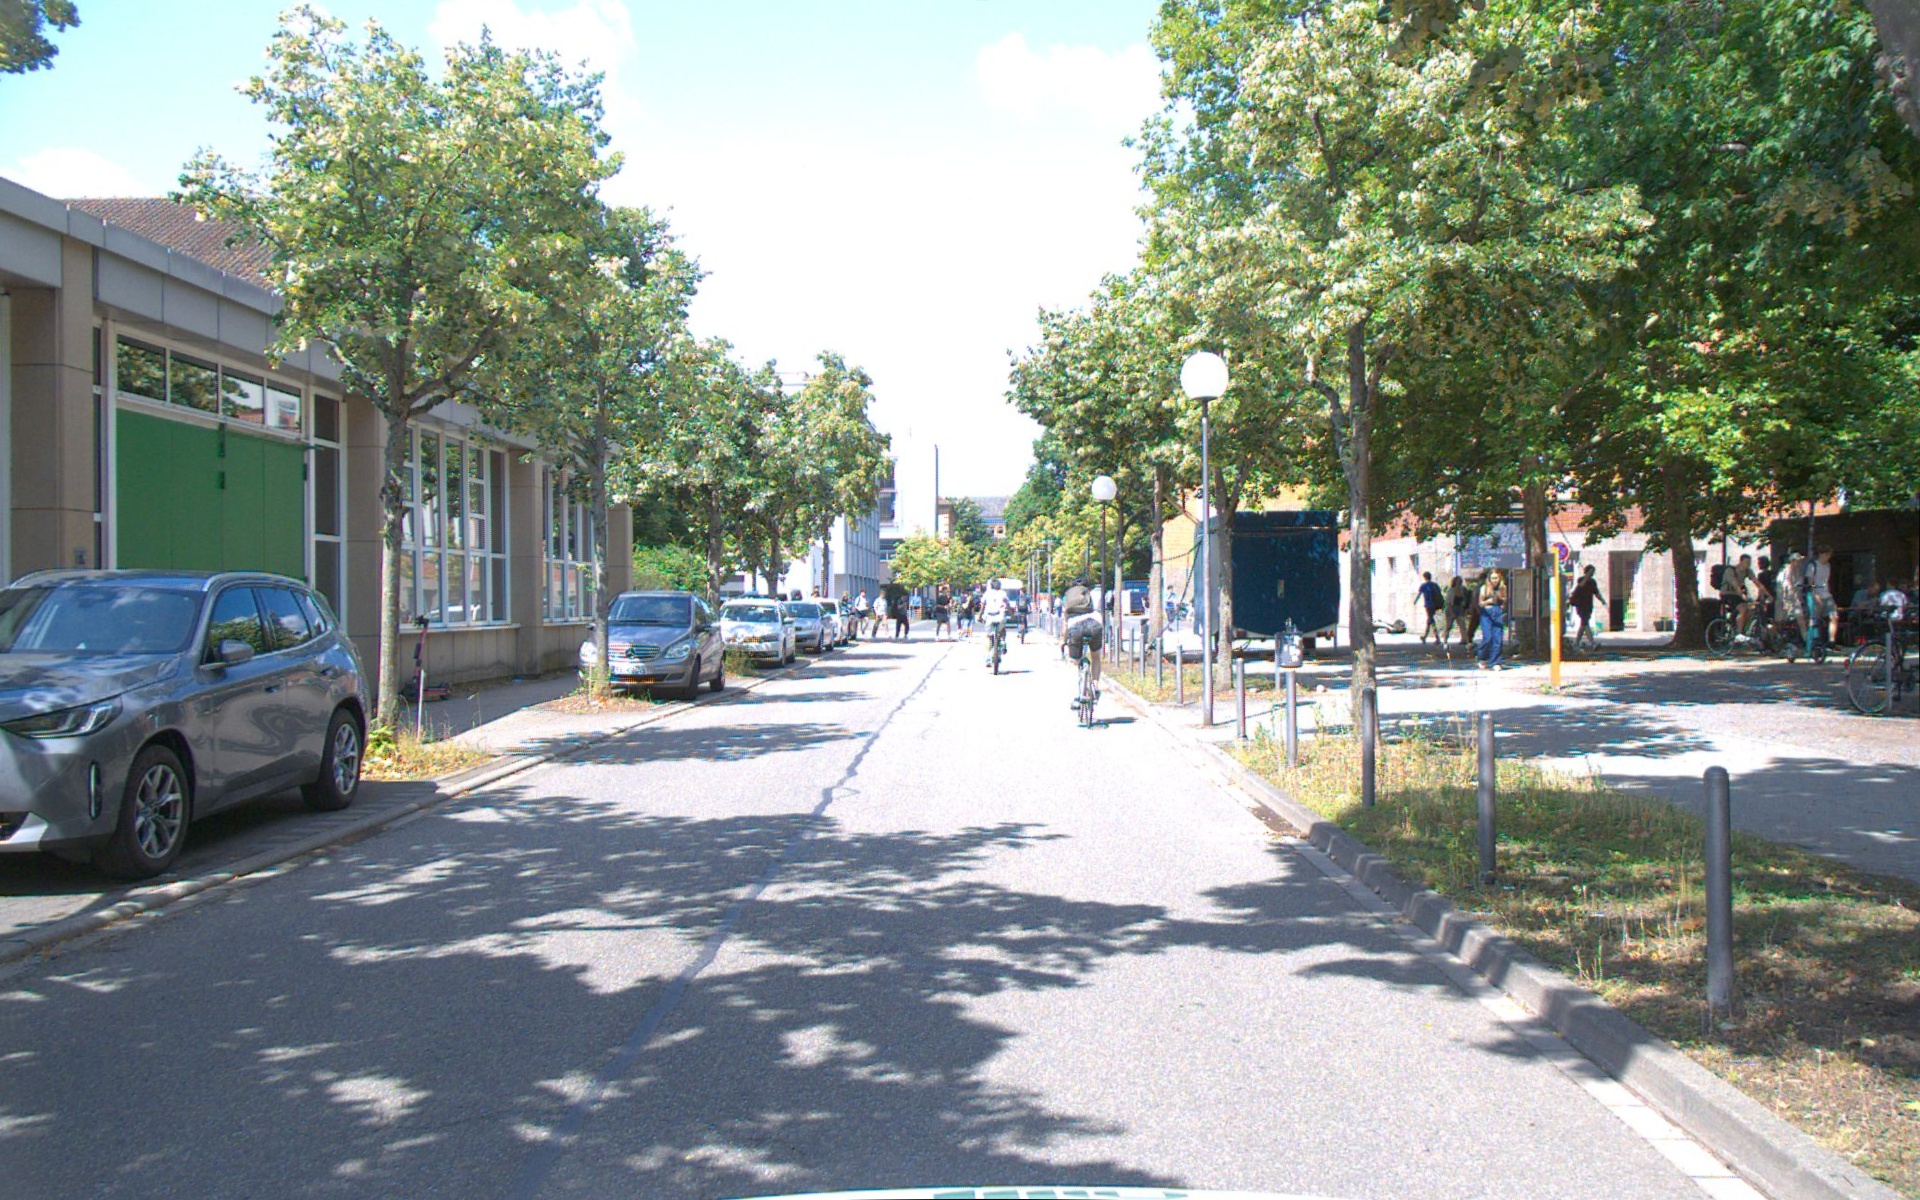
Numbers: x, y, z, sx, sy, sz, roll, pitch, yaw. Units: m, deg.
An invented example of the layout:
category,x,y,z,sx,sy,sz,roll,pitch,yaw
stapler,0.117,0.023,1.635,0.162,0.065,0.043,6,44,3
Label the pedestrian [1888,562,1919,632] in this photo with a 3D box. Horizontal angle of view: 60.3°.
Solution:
category,x,y,z,sx,sy,sz,roll,pitch,yaw
pedestrian,19.195,-0.066,33.244,0.558,1.370,0.729,-4,1,-3

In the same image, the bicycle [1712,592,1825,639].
category,x,y,z,sx,sy,sz,roll,pitch,yaw
bicycle,19.810,0.381,40.554,2.345,1.090,0.783,-1,-1,8

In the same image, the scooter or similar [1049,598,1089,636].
category,x,y,z,sx,sy,sz,roll,pitch,yaw
scooter or similar,3.829,0.601,58.205,1.238,1.287,0.649,-1,0,33

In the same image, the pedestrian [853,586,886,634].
category,x,y,z,sx,sy,sz,roll,pitch,yaw
pedestrian,-3.351,0.367,61.310,0.965,1.770,0.697,0,-1,39

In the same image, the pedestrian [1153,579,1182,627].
category,x,y,z,sx,sy,sz,roll,pitch,yaw
pedestrian,8.356,0.110,66.625,0.701,1.817,0.745,-8,5,-31

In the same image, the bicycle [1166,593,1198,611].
category,x,y,z,sx,sy,sz,roll,pitch,yaw
bicycle,13.237,0.116,98.602,1.772,1.002,0.560,-3,0,0

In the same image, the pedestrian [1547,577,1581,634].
category,x,y,z,sx,sy,sz,roll,pitch,yaw
pedestrian,17.783,0.156,48.678,0.645,1.635,0.678,-2,0,-14

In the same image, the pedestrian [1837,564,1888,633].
category,x,y,z,sx,sy,sz,roll,pitch,yaw
pedestrian,18.608,-0.036,34.122,0.558,1.370,0.729,-4,1,-3

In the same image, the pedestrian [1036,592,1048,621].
category,x,y,z,sx,sy,sz,roll,pitch,yaw
pedestrian,5.456,0.443,110.017,0.773,1.892,1.026,-1,0,2

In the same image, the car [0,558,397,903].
category,x,y,z,sx,sy,sz,roll,pitch,yaw
car,-5.114,0.623,10.240,1.785,1.661,4.516,1,0,-2

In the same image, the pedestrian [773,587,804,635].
category,x,y,z,sx,sy,sz,roll,pitch,yaw
pedestrian,-6.619,0.418,63.807,0.786,1.803,0.854,3,2,26

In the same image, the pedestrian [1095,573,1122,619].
category,x,y,z,sx,sy,sz,roll,pitch,yaw
pedestrian,5.903,-0.166,65.812,0.938,1.723,0.705,3,3,11

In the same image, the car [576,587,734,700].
category,x,y,z,sx,sy,sz,roll,pitch,yaw
car,-4.660,0.624,25.792,1.721,1.583,4.112,1,0,-1

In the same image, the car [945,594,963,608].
category,x,y,z,sx,sy,sz,roll,pitch,yaw
car,-0.695,0.098,189.882,1.757,1.557,4.002,-1,0,5

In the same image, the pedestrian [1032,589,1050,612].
category,x,y,z,sx,sy,sz,roll,pitch,yaw
pedestrian,7.482,0.055,152.489,1.469,2.030,1.646,-4,1,-1

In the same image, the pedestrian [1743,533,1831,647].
category,x,y,z,sx,sy,sz,roll,pitch,yaw
pedestrian,14.805,-0.176,29.637,0.820,1.983,1.073,-3,0,-19

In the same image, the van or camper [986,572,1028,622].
category,x,y,z,sx,sy,sz,roll,pitch,yaw
van or camper,2.489,-0.155,86.470,1.952,2.488,4.571,-2,-1,4

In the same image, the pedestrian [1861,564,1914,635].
category,x,y,z,sx,sy,sz,roll,pitch,yaw
pedestrian,18.629,-0.018,33.214,0.558,1.370,0.729,-4,1,-3

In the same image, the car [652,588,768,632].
category,x,y,z,sx,sy,sz,roll,pitch,yaw
car,-10.375,0.427,68.860,4.412,1.647,1.925,2,-1,3

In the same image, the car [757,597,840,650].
category,x,y,z,sx,sy,sz,roll,pitch,yaw
car,-4.412,0.622,45.720,1.689,1.367,4.167,1,0,2

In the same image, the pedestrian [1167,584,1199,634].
category,x,y,z,sx,sy,sz,roll,pitch,yaw
pedestrian,7.801,0.310,57.954,0.857,1.666,0.949,-6,1,1

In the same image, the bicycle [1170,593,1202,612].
category,x,y,z,sx,sy,sz,roll,pitch,yaw
bicycle,13.133,0.137,96.265,1.772,1.002,0.560,-3,0,0

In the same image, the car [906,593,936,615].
category,x,y,z,sx,sy,sz,roll,pitch,yaw
car,-2.904,0.271,123.412,1.757,1.557,4.002,-1,0,5

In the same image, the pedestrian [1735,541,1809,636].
category,x,y,z,sx,sy,sz,roll,pitch,yaw
pedestrian,15.861,-0.233,32.328,0.940,1.806,0.918,-1,1,-7

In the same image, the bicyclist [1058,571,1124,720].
category,x,y,z,sx,sy,sz,roll,pitch,yaw
bicyclist,1.524,0.516,19.379,0.702,1.691,1.095,0,0,1

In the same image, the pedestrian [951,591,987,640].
category,x,y,z,sx,sy,sz,roll,pitch,yaw
pedestrian,0.315,0.521,56.206,0.843,1.623,0.818,-3,1,-42

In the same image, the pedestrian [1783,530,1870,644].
category,x,y,z,sx,sy,sz,roll,pitch,yaw
pedestrian,15.679,-0.235,29.949,0.820,1.983,1.073,-3,0,-19

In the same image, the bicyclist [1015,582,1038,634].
category,x,y,z,sx,sy,sz,roll,pitch,yaw
bicyclist,2.275,0.269,56.914,0.791,1.787,0.692,0,-1,2

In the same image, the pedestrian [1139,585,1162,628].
category,x,y,z,sx,sy,sz,roll,pitch,yaw
pedestrian,7.630,0.252,66.314,0.497,1.657,0.565,-8,3,-30

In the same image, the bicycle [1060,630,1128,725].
category,x,y,z,sx,sy,sz,roll,pitch,yaw
bicycle,1.564,0.891,19.569,0.692,1.010,1.911,-2,0,2

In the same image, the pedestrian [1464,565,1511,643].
category,x,y,z,sx,sy,sz,roll,pitch,yaw
pedestrian,11.763,0.088,36.925,0.749,1.690,0.824,-2,0,1

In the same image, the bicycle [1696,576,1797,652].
category,x,y,z,sx,sy,sz,roll,pitch,yaw
bicycle,13.947,0.243,29.381,0.522,1.274,1.728,-3,0,-19

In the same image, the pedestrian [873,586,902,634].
category,x,y,z,sx,sy,sz,roll,pitch,yaw
pedestrian,-2.709,0.375,61.746,0.891,1.769,0.675,0,0,39

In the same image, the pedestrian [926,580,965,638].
category,x,y,z,sx,sy,sz,roll,pitch,yaw
pedestrian,-0.527,0.310,58.299,0.848,1.891,1.099,-4,7,-43

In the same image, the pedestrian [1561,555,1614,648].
category,x,y,z,sx,sy,sz,roll,pitch,yaw
pedestrian,13.117,0.033,34.573,0.749,1.887,0.824,-2,0,1

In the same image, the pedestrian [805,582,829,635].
category,x,y,z,sx,sy,sz,roll,pitch,yaw
pedestrian,-5.583,0.330,64.521,0.610,2.015,0.820,-1,-1,-30

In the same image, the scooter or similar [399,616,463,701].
category,x,y,z,sx,sy,sz,roll,pitch,yaw
scooter or similar,-7.653,0.831,23.951,0.495,1.189,1.215,0,0,1

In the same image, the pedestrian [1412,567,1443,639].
category,x,y,z,sx,sy,sz,roll,pitch,yaw
pedestrian,12.063,0.073,42.679,0.583,1.828,0.406,-3,1,-3

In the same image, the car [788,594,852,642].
category,x,y,z,sx,sy,sz,roll,pitch,yaw
car,-4.347,0.533,51.812,1.628,1.436,3.807,0,0,1

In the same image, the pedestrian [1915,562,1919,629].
category,x,y,z,sx,sy,sz,roll,pitch,yaw
pedestrian,19.758,-0.107,33.282,0.558,1.370,0.729,-4,1,-3

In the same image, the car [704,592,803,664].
category,x,y,z,sx,sy,sz,roll,pitch,yaw
car,-4.569,0.597,37.100,1.690,1.482,4.582,1,0,-1

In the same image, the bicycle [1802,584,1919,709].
category,x,y,z,sx,sy,sz,roll,pitch,yaw
bicycle,9.593,0.442,16.681,1.978,1.187,0.650,-2,0,-11

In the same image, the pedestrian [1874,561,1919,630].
category,x,y,z,sx,sy,sz,roll,pitch,yaw
pedestrian,19.401,-0.097,34.167,0.558,1.370,0.729,-4,1,-3

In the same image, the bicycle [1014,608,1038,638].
category,x,y,z,sx,sy,sz,roll,pitch,yaw
bicycle,2.274,0.787,56.986,0.791,1.020,2.124,0,-1,2

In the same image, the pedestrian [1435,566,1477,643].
category,x,y,z,sx,sy,sz,roll,pitch,yaw
pedestrian,11.076,0.102,36.949,0.683,1.690,0.788,-2,0,1

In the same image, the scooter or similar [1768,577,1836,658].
category,x,y,z,sx,sy,sz,roll,pitch,yaw
scooter or similar,13.355,0.280,26.264,0.415,1.240,1.294,-1,-1,1

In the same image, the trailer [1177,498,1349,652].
category,x,y,z,sx,sy,sz,roll,pitch,yaw
trailer,6.726,-0.526,37.573,2.637,3.105,6.257,-2,0,0

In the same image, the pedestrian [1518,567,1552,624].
category,x,y,z,sx,sy,sz,roll,pitch,yaw
pedestrian,16.887,-0.139,48.573,0.645,1.635,0.678,-2,0,-14

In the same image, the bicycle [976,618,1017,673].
category,x,y,z,sx,sy,sz,roll,pitch,yaw
bicycle,0.753,0.899,33.391,0.791,1.019,2.124,-1,0,2

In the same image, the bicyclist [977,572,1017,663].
category,x,y,z,sx,sy,sz,roll,pitch,yaw
bicyclist,0.752,0.347,33.510,0.755,1.787,0.848,1,0,2

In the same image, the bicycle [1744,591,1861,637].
category,x,y,z,sx,sy,sz,roll,pitch,yaw
bicycle,20.045,0.330,39.394,2.345,1.090,0.783,0,0,13

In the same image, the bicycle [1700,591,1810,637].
category,x,y,z,sx,sy,sz,roll,pitch,yaw
bicycle,19.909,0.358,41.468,2.345,1.090,0.783,-1,-1,14

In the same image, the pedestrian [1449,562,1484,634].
category,x,y,z,sx,sy,sz,roll,pitch,yaw
pedestrian,13.162,-0.056,43.012,0.583,1.828,0.727,-3,2,-2

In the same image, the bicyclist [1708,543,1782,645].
category,x,y,z,sx,sy,sz,roll,pitch,yaw
bicyclist,13.932,-0.108,29.380,0.522,1.759,1.073,-3,0,-19

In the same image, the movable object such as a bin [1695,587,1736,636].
category,x,y,z,sx,sy,sz,roll,pitch,yaw
movable object such as a bin,17.338,0.267,37.955,0.587,1.090,0.742,-1,-2,2

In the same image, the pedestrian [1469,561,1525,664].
category,x,y,z,sx,sy,sz,roll,pitch,yaw
pedestrian,8.605,0.194,26.539,0.557,1.599,0.927,-2,-1,1

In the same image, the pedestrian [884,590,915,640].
category,x,y,z,sx,sy,sz,roll,pitch,yaw
pedestrian,-2.172,0.541,59.542,0.969,1.750,0.704,-1,-4,14

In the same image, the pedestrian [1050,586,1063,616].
category,x,y,z,sx,sy,sz,roll,pitch,yaw
pedestrian,6.310,0.059,108.403,0.773,1.892,1.026,-2,0,2
